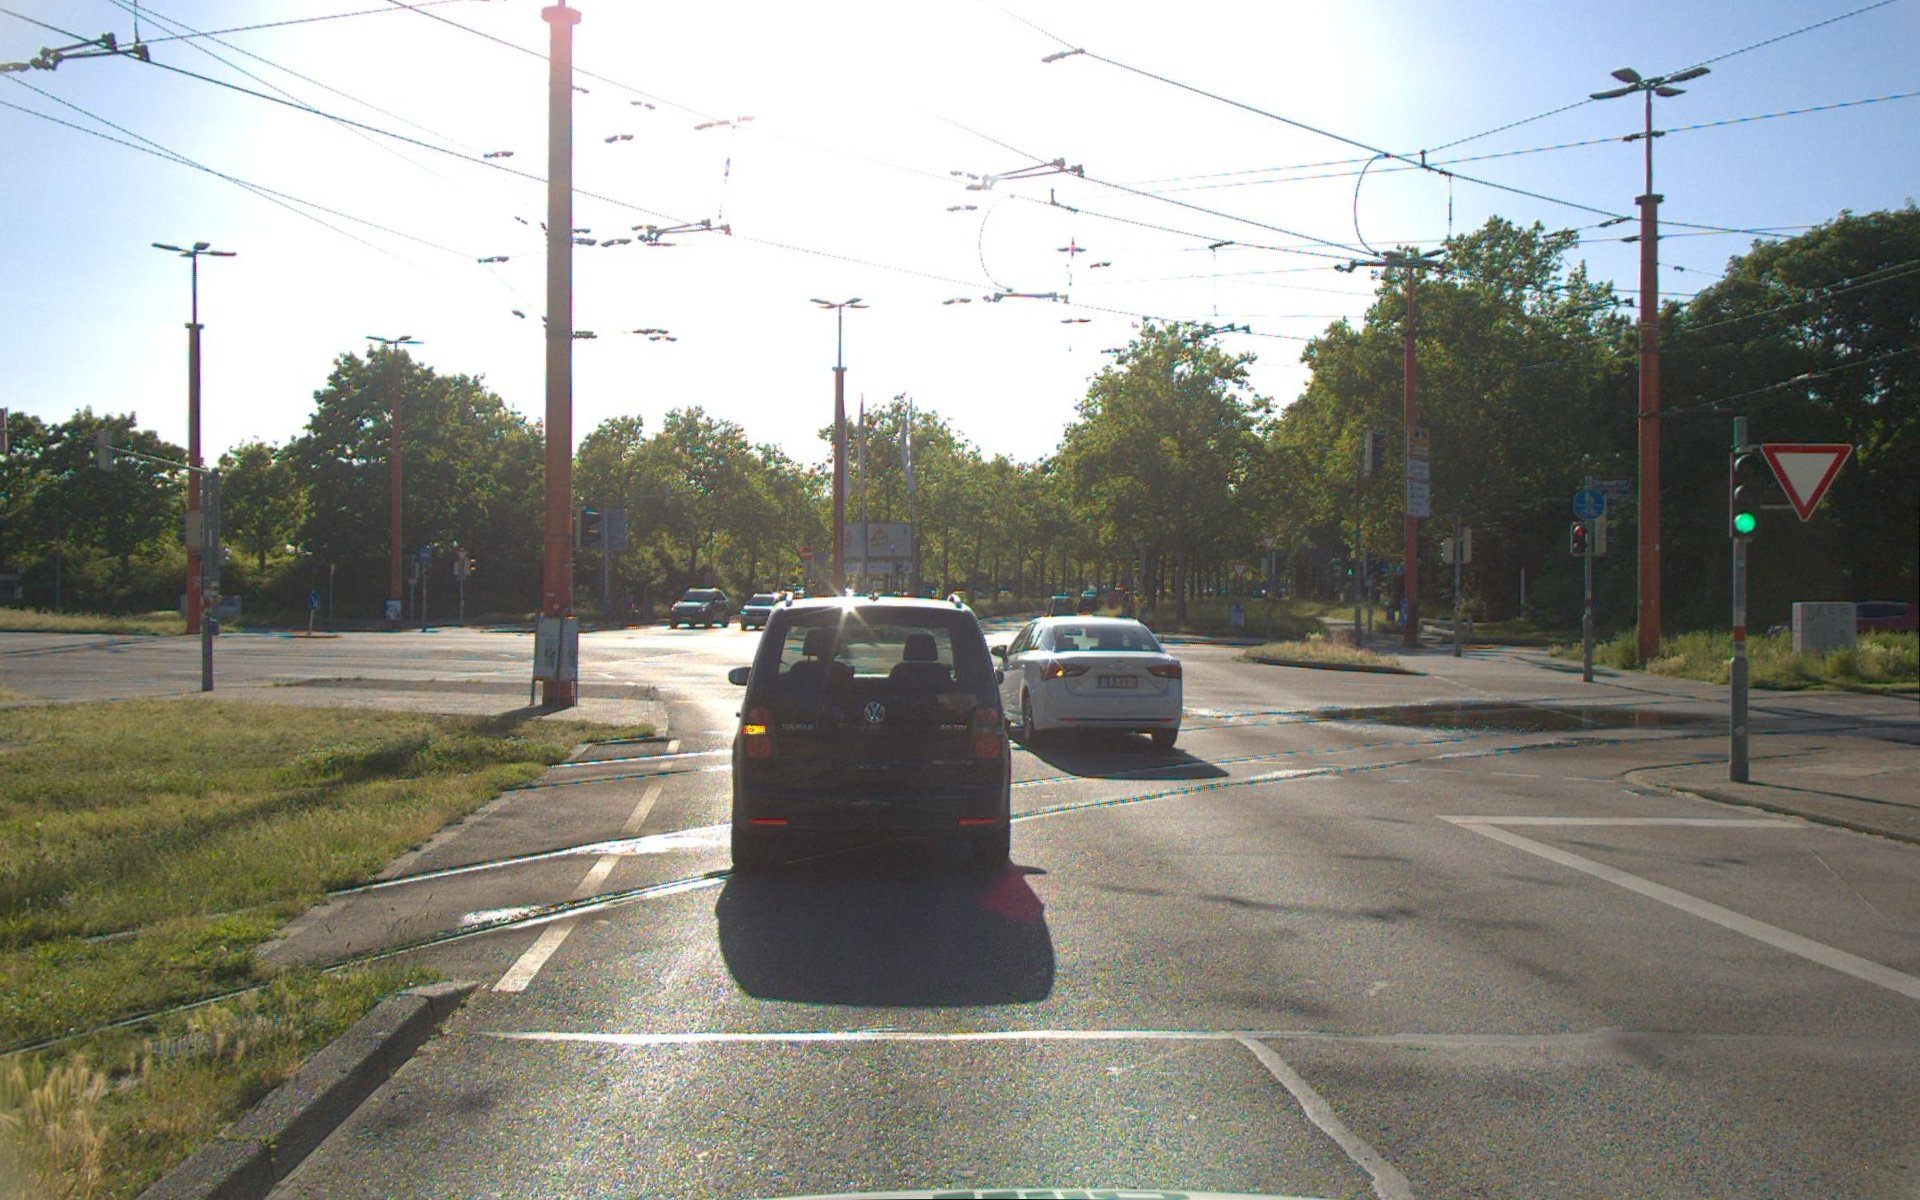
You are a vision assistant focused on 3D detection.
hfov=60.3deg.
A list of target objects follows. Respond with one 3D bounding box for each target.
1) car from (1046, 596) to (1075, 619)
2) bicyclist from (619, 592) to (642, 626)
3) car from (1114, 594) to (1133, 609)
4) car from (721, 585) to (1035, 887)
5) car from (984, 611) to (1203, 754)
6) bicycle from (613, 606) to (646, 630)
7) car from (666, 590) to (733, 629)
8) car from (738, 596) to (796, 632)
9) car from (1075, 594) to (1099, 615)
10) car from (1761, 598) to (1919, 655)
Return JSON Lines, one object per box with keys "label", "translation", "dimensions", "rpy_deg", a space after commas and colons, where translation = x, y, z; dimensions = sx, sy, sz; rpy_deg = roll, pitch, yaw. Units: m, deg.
{"label": "car", "translation": [6.516, 0.458, 107.483], "dimensions": [1.752, 1.412, 4.051], "rpy_deg": [1, 0, 2]}
{"label": "bicyclist", "translation": [-15.570, 0.409, 78.159], "dimensions": [0.743, 1.585, 0.982], "rpy_deg": [0, 1, 14]}
{"label": "car", "translation": [17.659, 0.153, 178.128], "dimensions": [1.751, 1.528, 4.053], "rpy_deg": [1, 0, 9]}
{"label": "car", "translation": [-0.566, 0.747, 11.659], "dimensions": [1.732, 1.673, 4.920], "rpy_deg": [0, 0, -3]}
{"label": "car", "translation": [1.495, 0.915, 20.127], "dimensions": [1.734, 1.489, 4.358], "rpy_deg": [0, 0, -8]}
{"label": "bicycle", "translation": [-15.591, 0.848, 78.084], "dimensions": [0.747, 1.110, 2.017], "rpy_deg": [0, 1, 14]}
{"label": "car", "translation": [-12.190, 0.410, 77.610], "dimensions": [1.862, 1.757, 4.657], "rpy_deg": [0, 0, 7]}
{"label": "car", "translation": [-8.792, 0.623, 75.506], "dimensions": [1.730, 1.565, 4.094], "rpy_deg": [0, 0, 6]}
{"label": "car", "translation": [10.507, 0.367, 136.693], "dimensions": [1.833, 1.655, 4.002], "rpy_deg": [2, -1, 5]}
{"label": "car", "translation": [24.935, 0.717, 46.615], "dimensions": [4.190, 1.521, 1.999], "rpy_deg": [0, 0, 25]}
